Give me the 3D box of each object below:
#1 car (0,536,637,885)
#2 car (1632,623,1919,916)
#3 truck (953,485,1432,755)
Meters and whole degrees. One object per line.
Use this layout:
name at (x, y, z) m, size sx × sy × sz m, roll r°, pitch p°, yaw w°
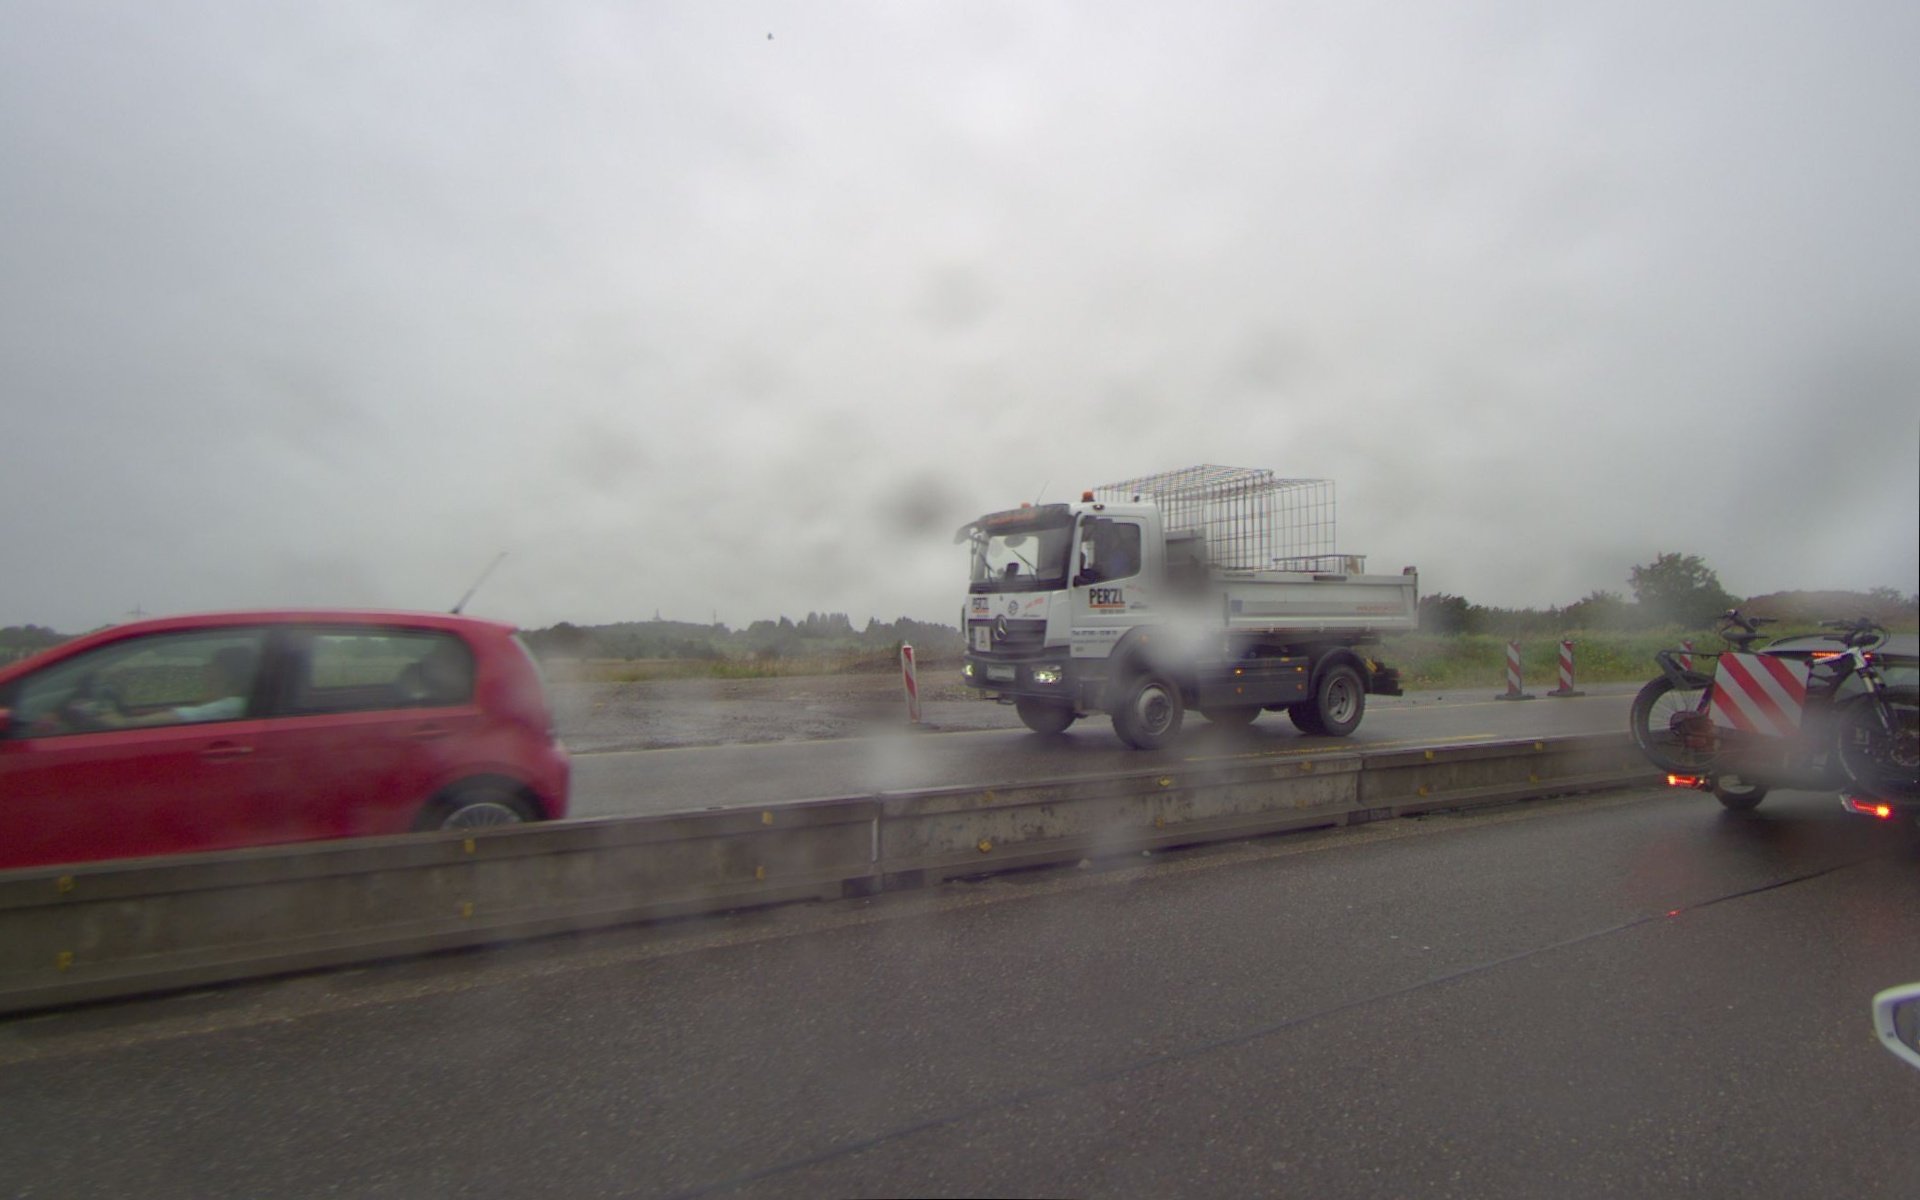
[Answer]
car at (-3.672, 0.462, 5.163) m, size 3.551 × 1.415 × 1.629 m, roll 2°, pitch 0°, yaw -31°
car at (7.324, 0.981, 7.537) m, size 5.567 × 1.482 × 1.725 m, roll -1°, pitch 0°, yaw -33°
truck at (3.276, 0.304, 13.547) m, size 6.471 × 2.932 × 2.348 m, roll 1°, pitch -2°, yaw -30°
